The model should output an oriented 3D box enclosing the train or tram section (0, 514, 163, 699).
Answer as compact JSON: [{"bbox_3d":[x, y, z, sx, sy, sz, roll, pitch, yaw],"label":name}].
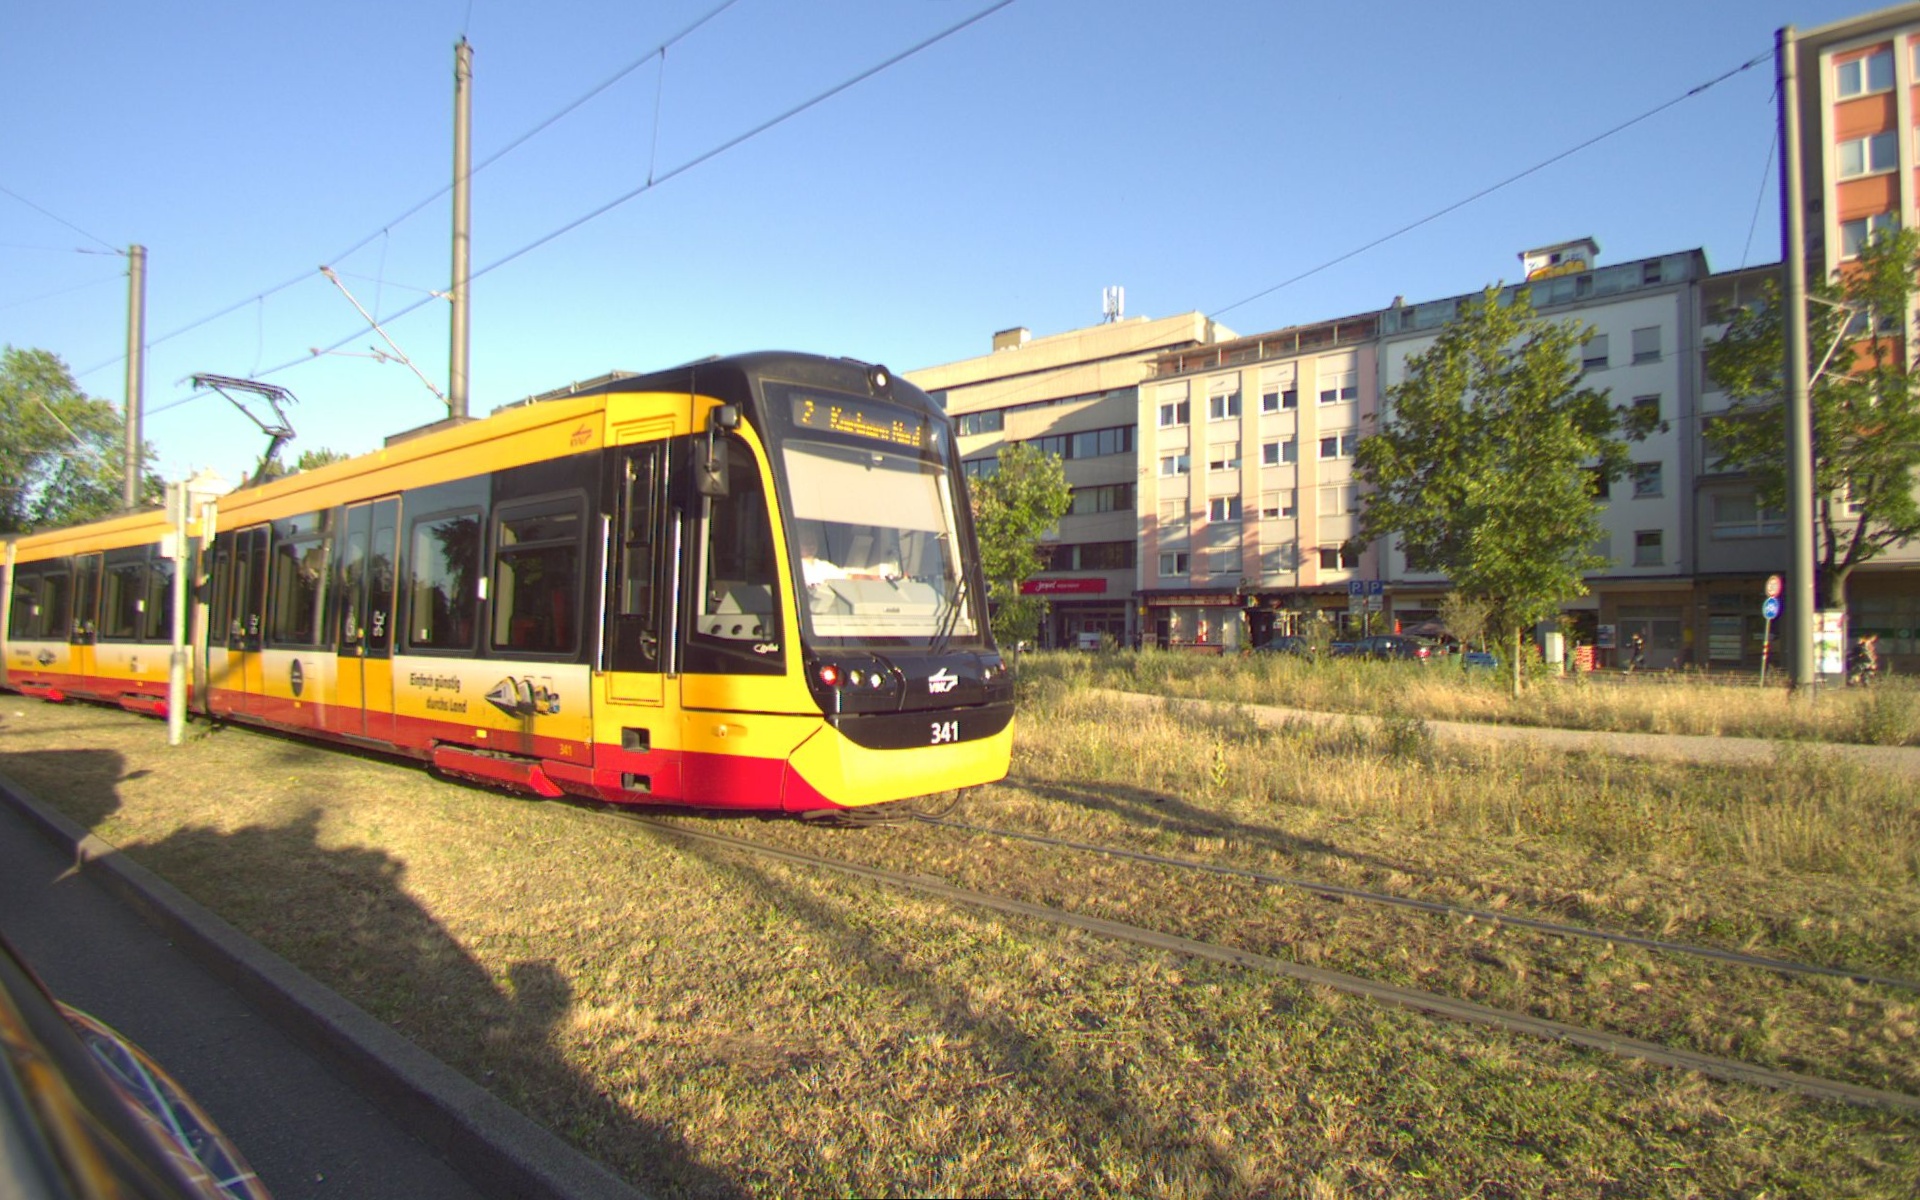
[{"bbox_3d":[-24.143,0.250,24.705,12.138,3.767,2.886,-1,-2,29],"label":"train or tram section"}]

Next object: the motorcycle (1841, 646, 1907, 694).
[{"bbox_3d":[26.567,2.018,29.422,1.390,1.328,0.376,-2,-2,43],"label":"motorcycle"}]

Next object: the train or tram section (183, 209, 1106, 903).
[{"bbox_3d":[-4.834,-0.110,10.887,13.209,3.767,2.879,-1,-2,40],"label":"train or tram section"}]

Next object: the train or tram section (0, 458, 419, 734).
[{"bbox_3d":[-14.386,0.074,18.558,12.158,3.767,2.852,-1,-2,36],"label":"train or tram section"}]

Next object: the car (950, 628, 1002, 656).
[{"bbox_3d":[1.097,2.936,71.533,1.965,1.893,4.013,1,-2,-27],"label":"car"}]

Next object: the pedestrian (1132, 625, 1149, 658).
[{"bbox_3d":[10.585,2.427,59.402,0.700,1.949,0.683,-2,-2,41],"label":"pedestrian"}]

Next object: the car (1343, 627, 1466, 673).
[{"bbox_3d":[17.274,1.914,39.510,1.965,1.697,4.012,1,-2,-28],"label":"car"}]

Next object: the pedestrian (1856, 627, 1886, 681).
[{"bbox_3d":[30.242,1.795,33.600,0.698,1.764,0.642,-2,-2,41],"label":"pedestrian"}]

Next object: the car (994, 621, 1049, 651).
[{"bbox_3d":[4.020,2.380,67.035,1.892,1.878,4.013,1,-2,-27],"label":"car"}]

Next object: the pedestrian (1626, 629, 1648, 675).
[{"bbox_3d":[26.651,2.045,39.834,0.630,1.782,0.589,-1,-2,41],"label":"pedestrian"}]

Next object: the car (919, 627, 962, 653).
[{"bbox_3d":[-1.521,3.006,77.050,1.965,1.893,4.013,1,-2,-23],"label":"car"}]
